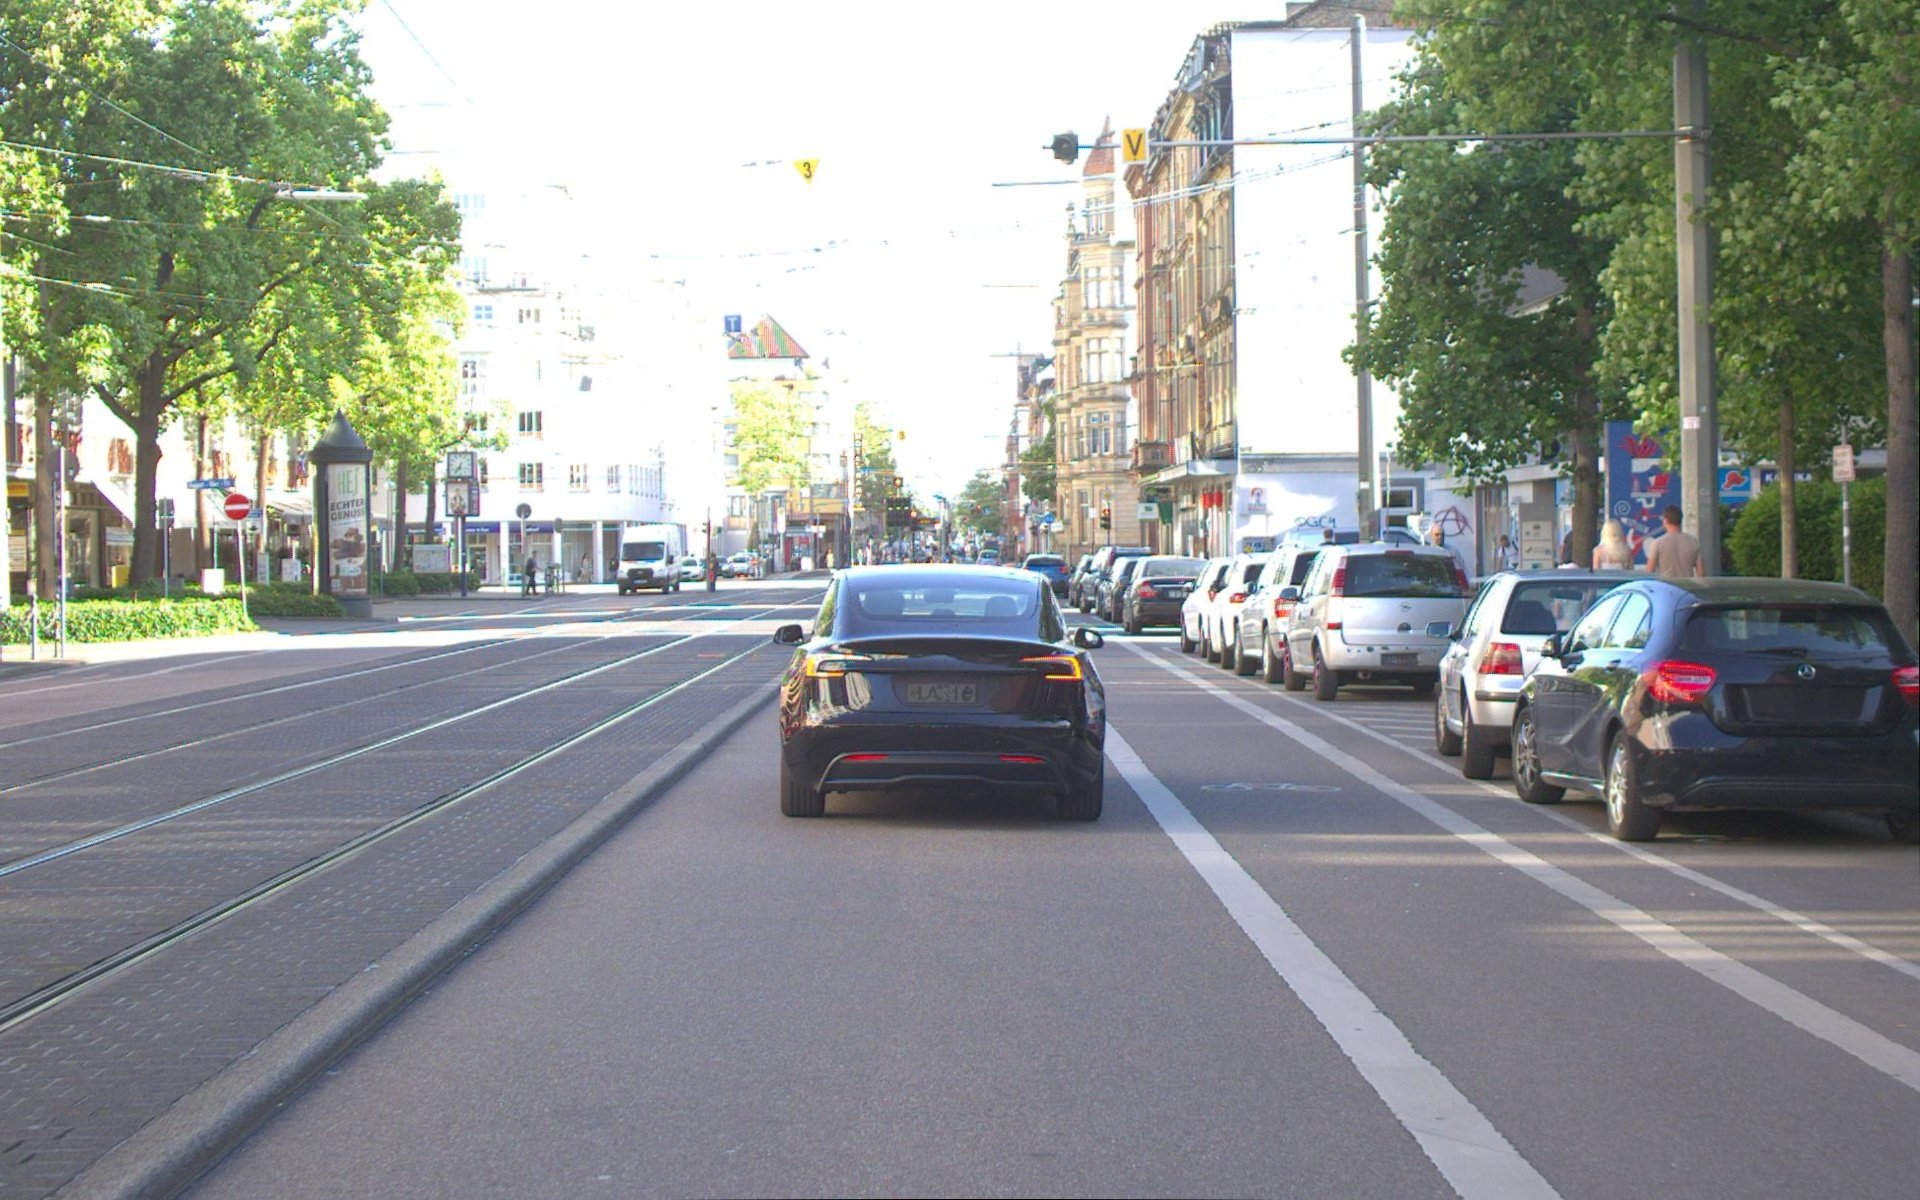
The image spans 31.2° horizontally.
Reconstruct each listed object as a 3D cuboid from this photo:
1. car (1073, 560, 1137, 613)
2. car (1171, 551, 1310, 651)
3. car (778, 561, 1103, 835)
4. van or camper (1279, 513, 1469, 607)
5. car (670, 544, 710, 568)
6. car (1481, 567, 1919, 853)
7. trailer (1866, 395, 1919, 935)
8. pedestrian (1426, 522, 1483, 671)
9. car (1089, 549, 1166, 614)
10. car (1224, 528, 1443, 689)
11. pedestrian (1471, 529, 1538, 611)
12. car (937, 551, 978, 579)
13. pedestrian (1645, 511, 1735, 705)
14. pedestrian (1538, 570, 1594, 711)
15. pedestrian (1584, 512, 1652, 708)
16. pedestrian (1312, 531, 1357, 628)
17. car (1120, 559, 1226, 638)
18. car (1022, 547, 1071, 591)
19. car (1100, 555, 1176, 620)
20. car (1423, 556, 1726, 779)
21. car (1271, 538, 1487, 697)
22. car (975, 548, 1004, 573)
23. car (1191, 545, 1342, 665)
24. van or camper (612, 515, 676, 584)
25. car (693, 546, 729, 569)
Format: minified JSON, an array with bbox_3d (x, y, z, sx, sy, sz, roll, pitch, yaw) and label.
[{"bbox_3d":[4.140,-0.394,98.557,1.715,1.467,3.719,-1,1,1],"label":"car"},{"bbox_3d":[4.263,-0.009,52.747,1.601,1.438,3.885,2,0,-3],"label":"car"},{"bbox_3d":[-0.140,0.504,20.196,1.719,1.400,3.710,1,1,-1],"label":"car"},{"bbox_3d":[10.628,-1.035,88.481,4.644,2.129,1.987,-3,0,4],"label":"van or camper"},{"bbox_3d":[-15.608,-2.544,198.779,1.993,1.363,4.000,-1,1,0],"label":"car"},{"bbox_3d":[4.339,0.556,19.992,1.802,1.430,4.324,2,1,-2],"label":"car"},{"bbox_3d":[4.566,0.279,12.319,1.661,2.109,3.842,1,1,1],"label":"trailer"},{"bbox_3d":[6.100,-0.046,42.431,0.611,1.802,0.602,-2,0,5],"label":"pedestrian"},{"bbox_3d":[4.250,-0.460,87.782,1.829,1.622,4.095,0,0,1],"label":"car"},{"bbox_3d":[4.461,0.047,41.777,1.925,1.828,4.713,0,1,-3],"label":"car"},{"bbox_3d":[11.704,-0.641,73.903,1.155,1.722,1.042,-1,2,25],"label":"pedestrian"},{"bbox_3d":[-0.137,-1.953,190.450,1.993,1.520,4.001,0,1,-4],"label":"car"},{"bbox_3d":[7.371,0.072,34.747,0.669,1.891,0.747,-4,1,5],"label":"pedestrian"},{"bbox_3d":[6.166,0.407,34.974,0.456,1.393,0.423,-3,1,5],"label":"pedestrian"},{"bbox_3d":[6.682,0.096,34.930,0.465,1.947,0.747,-4,1,5],"label":"pedestrian"},{"bbox_3d":[7.025,-0.386,64.508,0.721,1.806,0.889,-1,0,0],"label":"pedestrian"},{"bbox_3d":[4.054,-0.051,65.963,1.711,1.452,4.550,0,1,0],"label":"car"},{"bbox_3d":[2.906,-1.061,116.291,1.593,1.428,3.686,-1,1,1],"label":"car"},{"bbox_3d":[3.996,-0.269,77.451,1.461,1.427,3.814,0,0,-1],"label":"car"},{"bbox_3d":[4.361,0.420,24.943,1.750,1.438,4.314,0,1,5],"label":"car"},{"bbox_3d":[4.440,0.142,36.933,1.713,1.585,4.066,1,1,-1],"label":"car"},{"bbox_3d":[1.903,-2.557,222.633,1.846,1.587,4.000,-2,1,1],"label":"car"},{"bbox_3d":[4.185,0.028,47.441,1.541,1.564,4.444,1,1,-2],"label":"car"},{"bbox_3d":[-12.697,-2.019,138.513,2.139,2.645,6.881,-1,1,-2],"label":"van or camper"},{"bbox_3d":[-16.193,-2.762,223.728,1.993,1.490,4.000,-1,1,0],"label":"car"}]
